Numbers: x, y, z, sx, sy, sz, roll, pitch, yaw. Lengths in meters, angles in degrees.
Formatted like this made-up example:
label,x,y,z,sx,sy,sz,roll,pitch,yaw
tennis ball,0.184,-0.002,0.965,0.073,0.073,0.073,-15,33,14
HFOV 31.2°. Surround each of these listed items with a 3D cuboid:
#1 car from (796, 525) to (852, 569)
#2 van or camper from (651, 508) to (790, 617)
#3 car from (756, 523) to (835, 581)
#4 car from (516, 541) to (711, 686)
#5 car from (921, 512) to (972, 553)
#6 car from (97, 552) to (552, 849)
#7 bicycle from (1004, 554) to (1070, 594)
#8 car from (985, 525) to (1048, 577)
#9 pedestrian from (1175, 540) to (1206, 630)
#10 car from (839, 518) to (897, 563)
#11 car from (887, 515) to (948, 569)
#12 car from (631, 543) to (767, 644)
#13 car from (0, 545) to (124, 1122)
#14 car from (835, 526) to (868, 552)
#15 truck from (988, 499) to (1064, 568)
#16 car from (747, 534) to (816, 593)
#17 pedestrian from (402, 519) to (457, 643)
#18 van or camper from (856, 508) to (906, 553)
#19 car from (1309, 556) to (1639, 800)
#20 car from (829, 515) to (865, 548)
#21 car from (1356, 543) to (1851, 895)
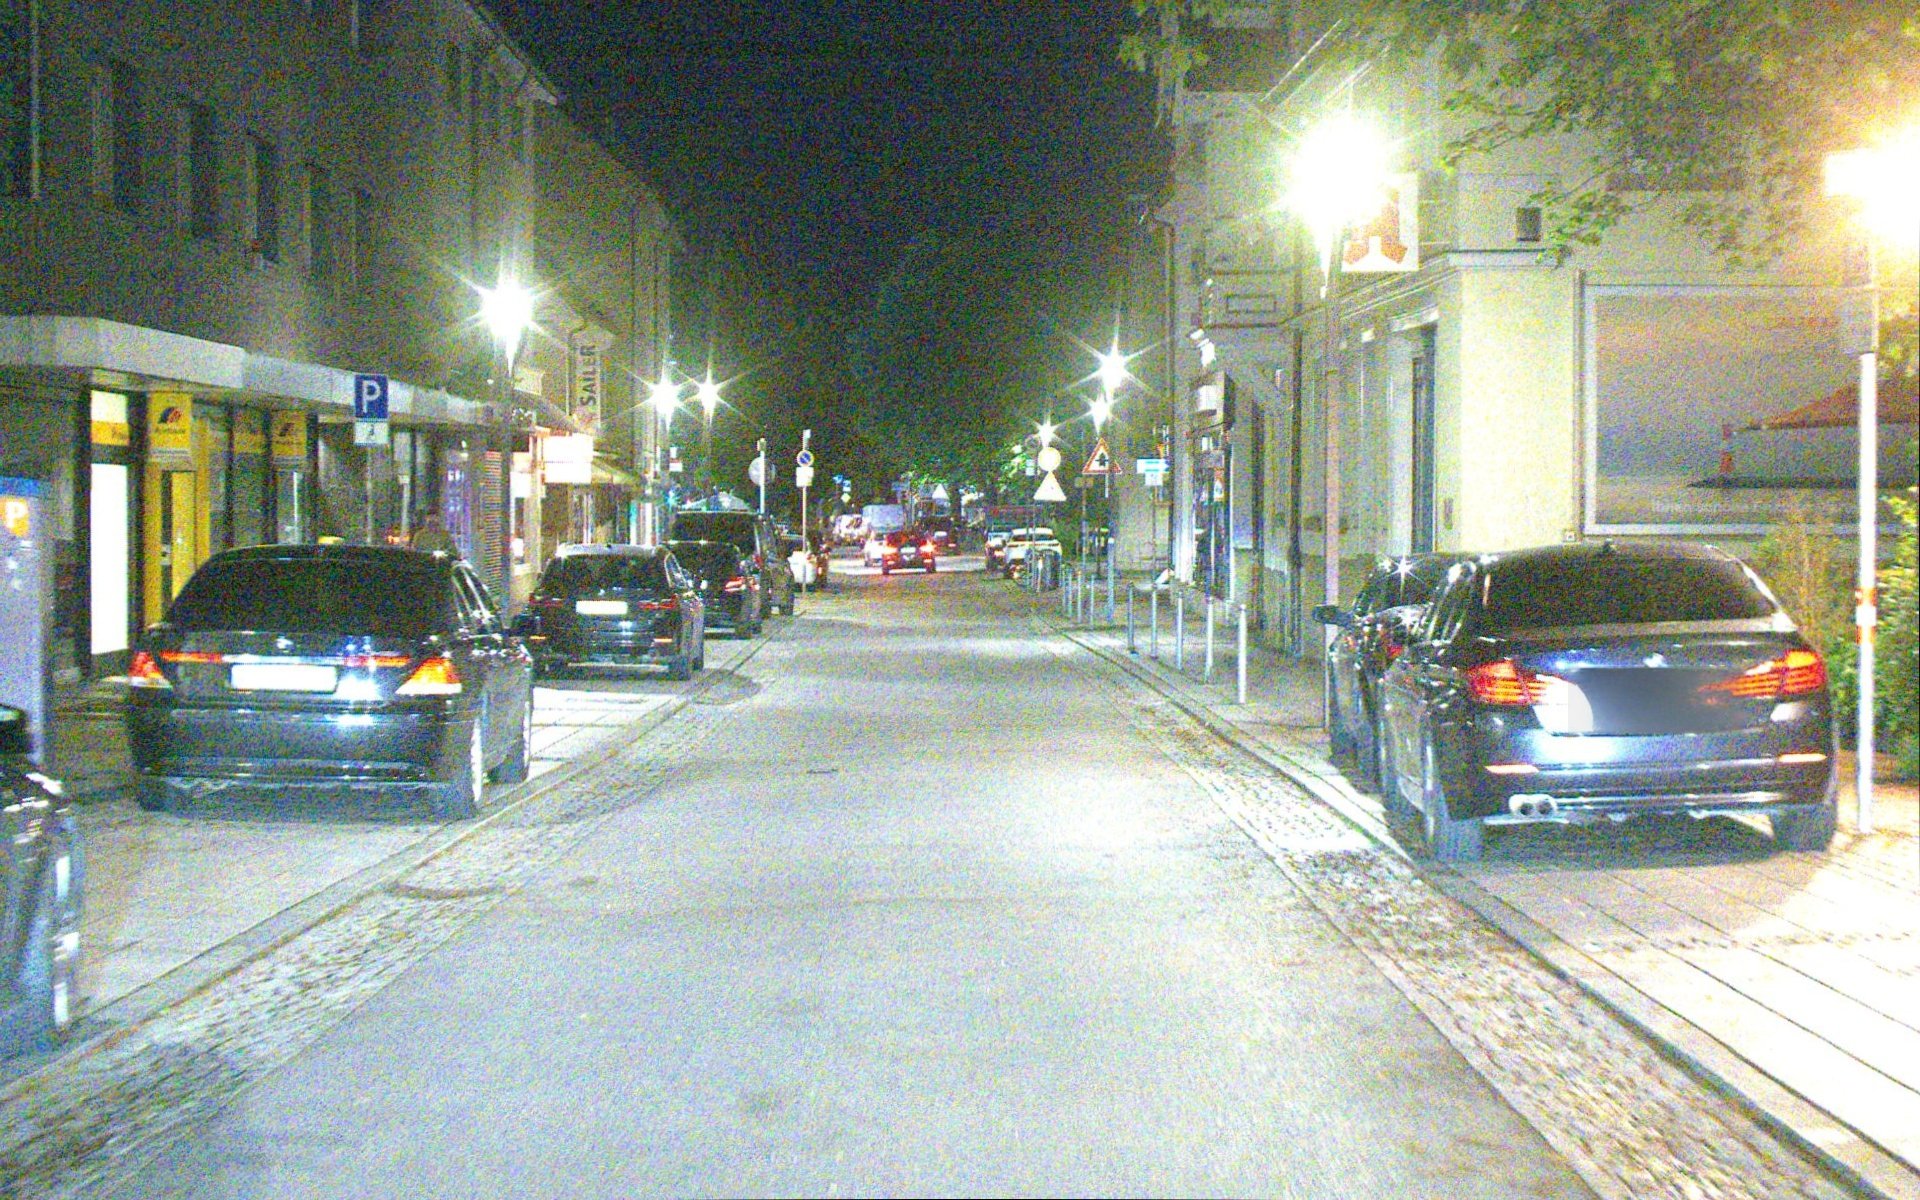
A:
label,x,y,z,sx,sy,sz,roll,pitch,yaw
car,-4.930,-1.916,124.330,1.673,1.538,4.231,1,1,-7
van or camper,-4.444,-0.735,64.533,1.846,1.935,5.153,1,1,5
car,-4.577,-1.358,96.275,2.019,1.483,5.008,3,1,-2
car,-3.763,0.107,37.941,1.797,1.473,4.322,1,1,-2
car,-0.615,-3.058,155.455,1.814,1.822,4.348,-1,1,-7
car,-3.530,0.482,19.919,1.845,1.459,4.624,1,1,-1
bicycle,2.070,-0.697,92.798,1.754,1.058,0.346,-1,1,-3
car,1.687,-1.500,104.111,1.789,1.486,4.059,-2,1,0
pedestrian,3.970,-0.259,59.172,0.501,1.542,0.480,1,1,6
car,-3.602,-2.332,133.914,1.993,1.697,4.001,0,1,-6
car,-1.486,-1.997,118.127,1.993,1.817,4.001,0,1,-2
car,-3.915,-0.131,52.184,1.716,1.408,4.386,1,1,0
car,-3.362,0.606,8.129,1.899,1.465,4.526,0,1,-3
car,-6.130,-3.446,194.103,1.531,1.413,3.846,-1,1,-6
truck,2.266,-2.336,119.621,2.336,2.304,5.781,-1,1,-1
car,-4.688,-0.985,90.655,1.728,1.471,3.847,1,1,-2
pedestrian,-7.559,-0.282,49.000,0.621,1.739,1.023,0,1,0
van or camper,-4.194,-3.683,181.404,2.108,2.309,4.263,-2,2,-8
car,3.250,0.436,22.417,1.661,1.373,4.103,-2,1,2
car,-6.585,-3.992,199.948,1.839,1.894,3.846,-1,1,-6
car,3.030,0.479,17.057,1.753,1.459,4.466,-2,1,2
